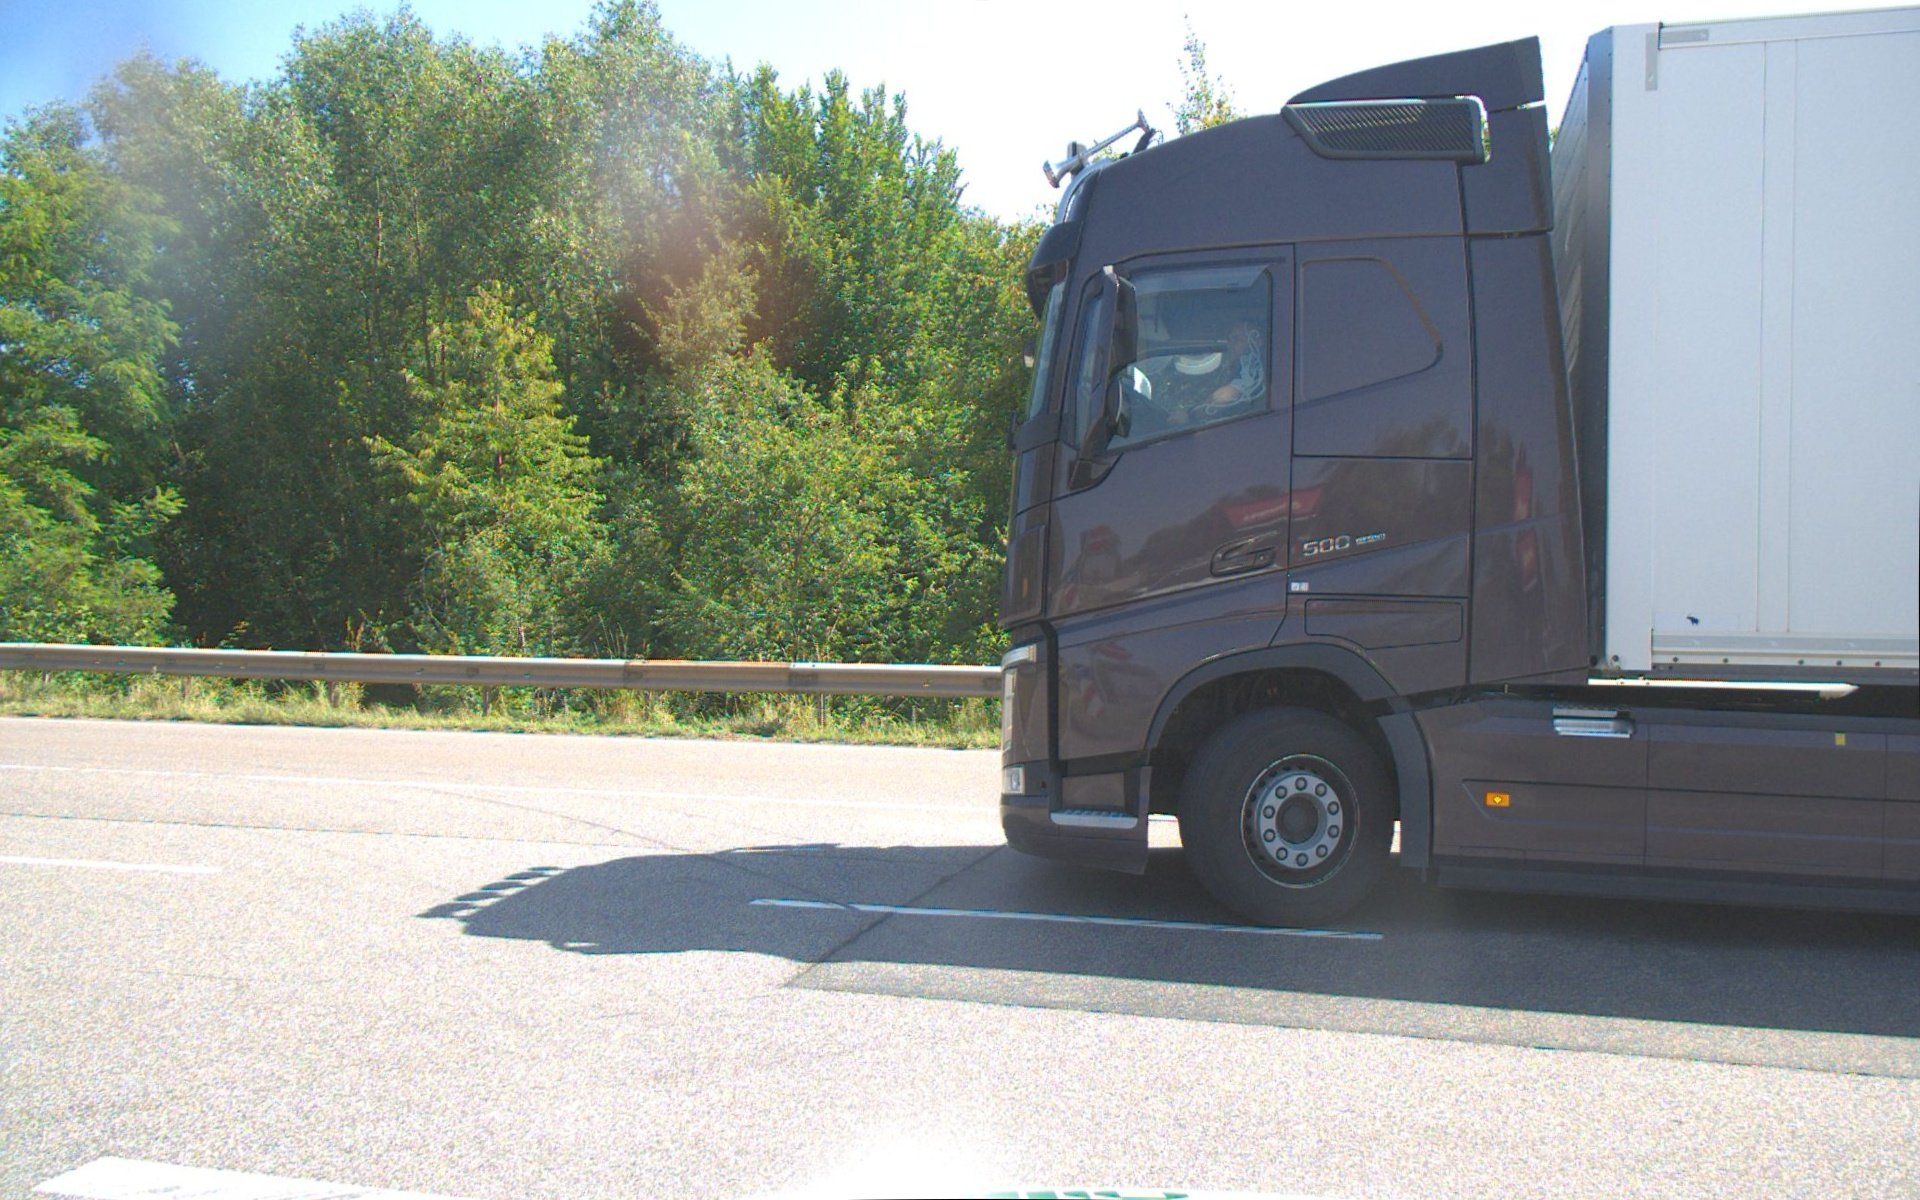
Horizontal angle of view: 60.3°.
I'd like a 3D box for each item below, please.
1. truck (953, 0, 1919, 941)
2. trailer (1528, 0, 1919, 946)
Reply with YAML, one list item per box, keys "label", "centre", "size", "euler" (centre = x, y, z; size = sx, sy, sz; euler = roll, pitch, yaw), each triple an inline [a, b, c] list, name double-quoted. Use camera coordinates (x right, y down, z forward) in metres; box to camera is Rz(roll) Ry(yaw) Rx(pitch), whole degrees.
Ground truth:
- label: "truck"
  centre: [3.059, -0.716, 8.509]
  size: [5.824, 4.246, 2.882]
  euler: [1, 0, 7]
- label: "trailer"
  centre: [9.709, -0.616, 6.950]
  size: [13.639, 4.238, 2.899]
  euler: [1, 0, 15]
